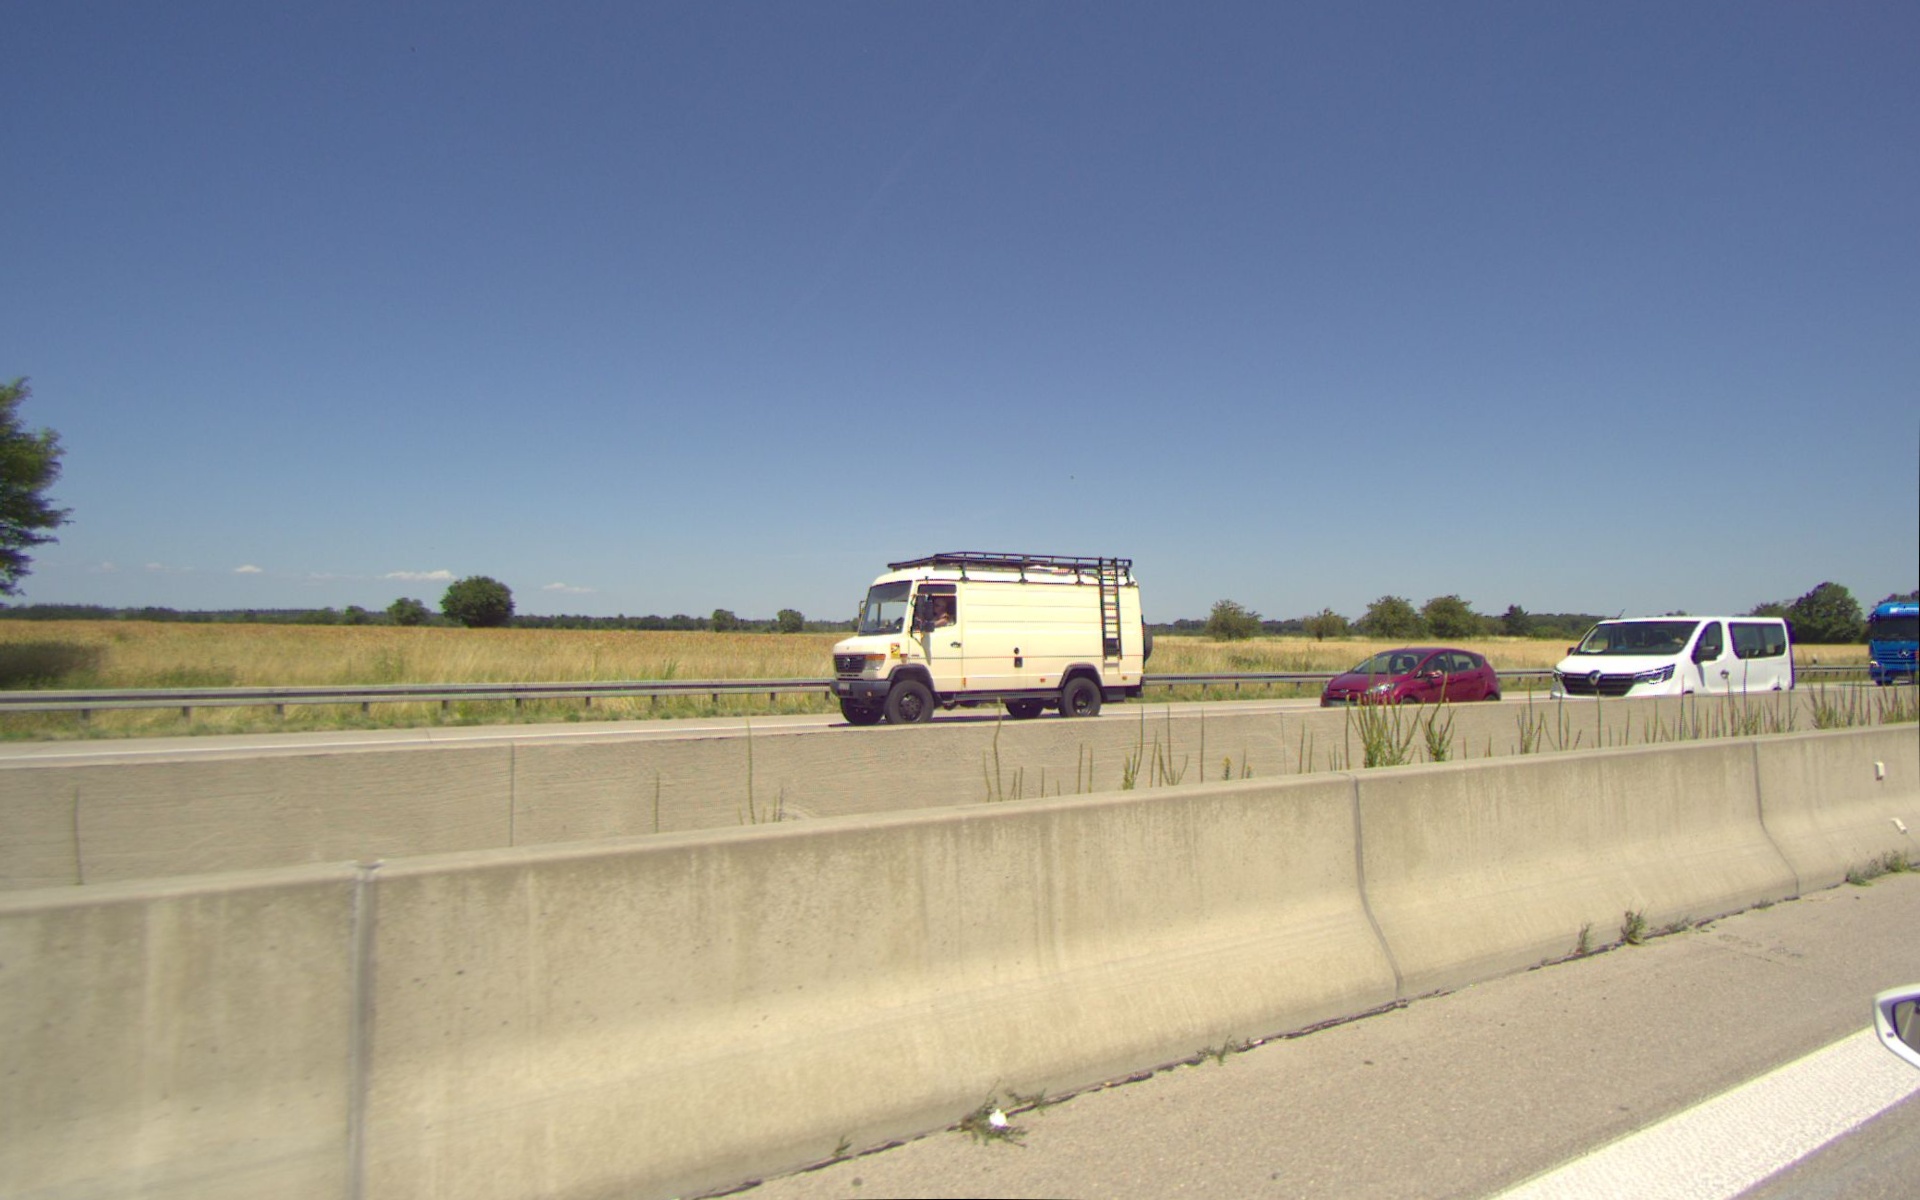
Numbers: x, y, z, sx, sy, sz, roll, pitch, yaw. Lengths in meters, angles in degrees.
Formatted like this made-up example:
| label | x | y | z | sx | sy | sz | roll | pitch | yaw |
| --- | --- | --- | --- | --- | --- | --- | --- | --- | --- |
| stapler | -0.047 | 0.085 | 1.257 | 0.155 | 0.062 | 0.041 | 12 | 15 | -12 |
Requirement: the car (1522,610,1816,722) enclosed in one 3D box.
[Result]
| label | x | y | z | sx | sy | sz | roll | pitch | yaw |
| --- | --- | --- | --- | --- | --- | --- | --- | --- | --- |
| car | 12.492 | 1.086 | 17.589 | 5.579 | 1.701 | 2.128 | 2 | -2 | -30 |

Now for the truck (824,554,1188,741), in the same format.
| label | x | y | z | sx | sy | sz | roll | pitch | yaw |
| --- | --- | --- | --- | --- | --- | --- | --- | --- | --- |
| truck | 1.035 | 0.867 | 19.517 | 6.896 | 3.125 | 2.311 | 2 | 0 | -31 |

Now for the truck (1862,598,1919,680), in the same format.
| label | x | y | z | sx | sy | sz | roll | pitch | yaw |
| --- | --- | --- | --- | --- | --- | --- | --- | --- | --- |
| truck | 41.459 | 1.678 | 43.214 | 5.203 | 3.354 | 2.471 | 1 | 0 | -31 |

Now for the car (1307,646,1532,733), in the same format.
| label | x | y | z | sx | sy | sz | roll | pitch | yaw |
| --- | --- | --- | --- | --- | --- | --- | --- | --- | --- |
| car | 8.797 | 1.634 | 19.152 | 4.435 | 1.479 | 1.680 | 2 | -2 | -30 |

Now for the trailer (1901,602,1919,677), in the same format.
| label | x | y | z | sx | sy | sz | roll | pitch | yaw |
| --- | --- | --- | --- | --- | --- | --- | --- | --- | --- |
| trailer | 46.937 | 1.879 | 46.477 | 9.146 | 3.316 | 2.502 | 2 | 0 | -31 |
